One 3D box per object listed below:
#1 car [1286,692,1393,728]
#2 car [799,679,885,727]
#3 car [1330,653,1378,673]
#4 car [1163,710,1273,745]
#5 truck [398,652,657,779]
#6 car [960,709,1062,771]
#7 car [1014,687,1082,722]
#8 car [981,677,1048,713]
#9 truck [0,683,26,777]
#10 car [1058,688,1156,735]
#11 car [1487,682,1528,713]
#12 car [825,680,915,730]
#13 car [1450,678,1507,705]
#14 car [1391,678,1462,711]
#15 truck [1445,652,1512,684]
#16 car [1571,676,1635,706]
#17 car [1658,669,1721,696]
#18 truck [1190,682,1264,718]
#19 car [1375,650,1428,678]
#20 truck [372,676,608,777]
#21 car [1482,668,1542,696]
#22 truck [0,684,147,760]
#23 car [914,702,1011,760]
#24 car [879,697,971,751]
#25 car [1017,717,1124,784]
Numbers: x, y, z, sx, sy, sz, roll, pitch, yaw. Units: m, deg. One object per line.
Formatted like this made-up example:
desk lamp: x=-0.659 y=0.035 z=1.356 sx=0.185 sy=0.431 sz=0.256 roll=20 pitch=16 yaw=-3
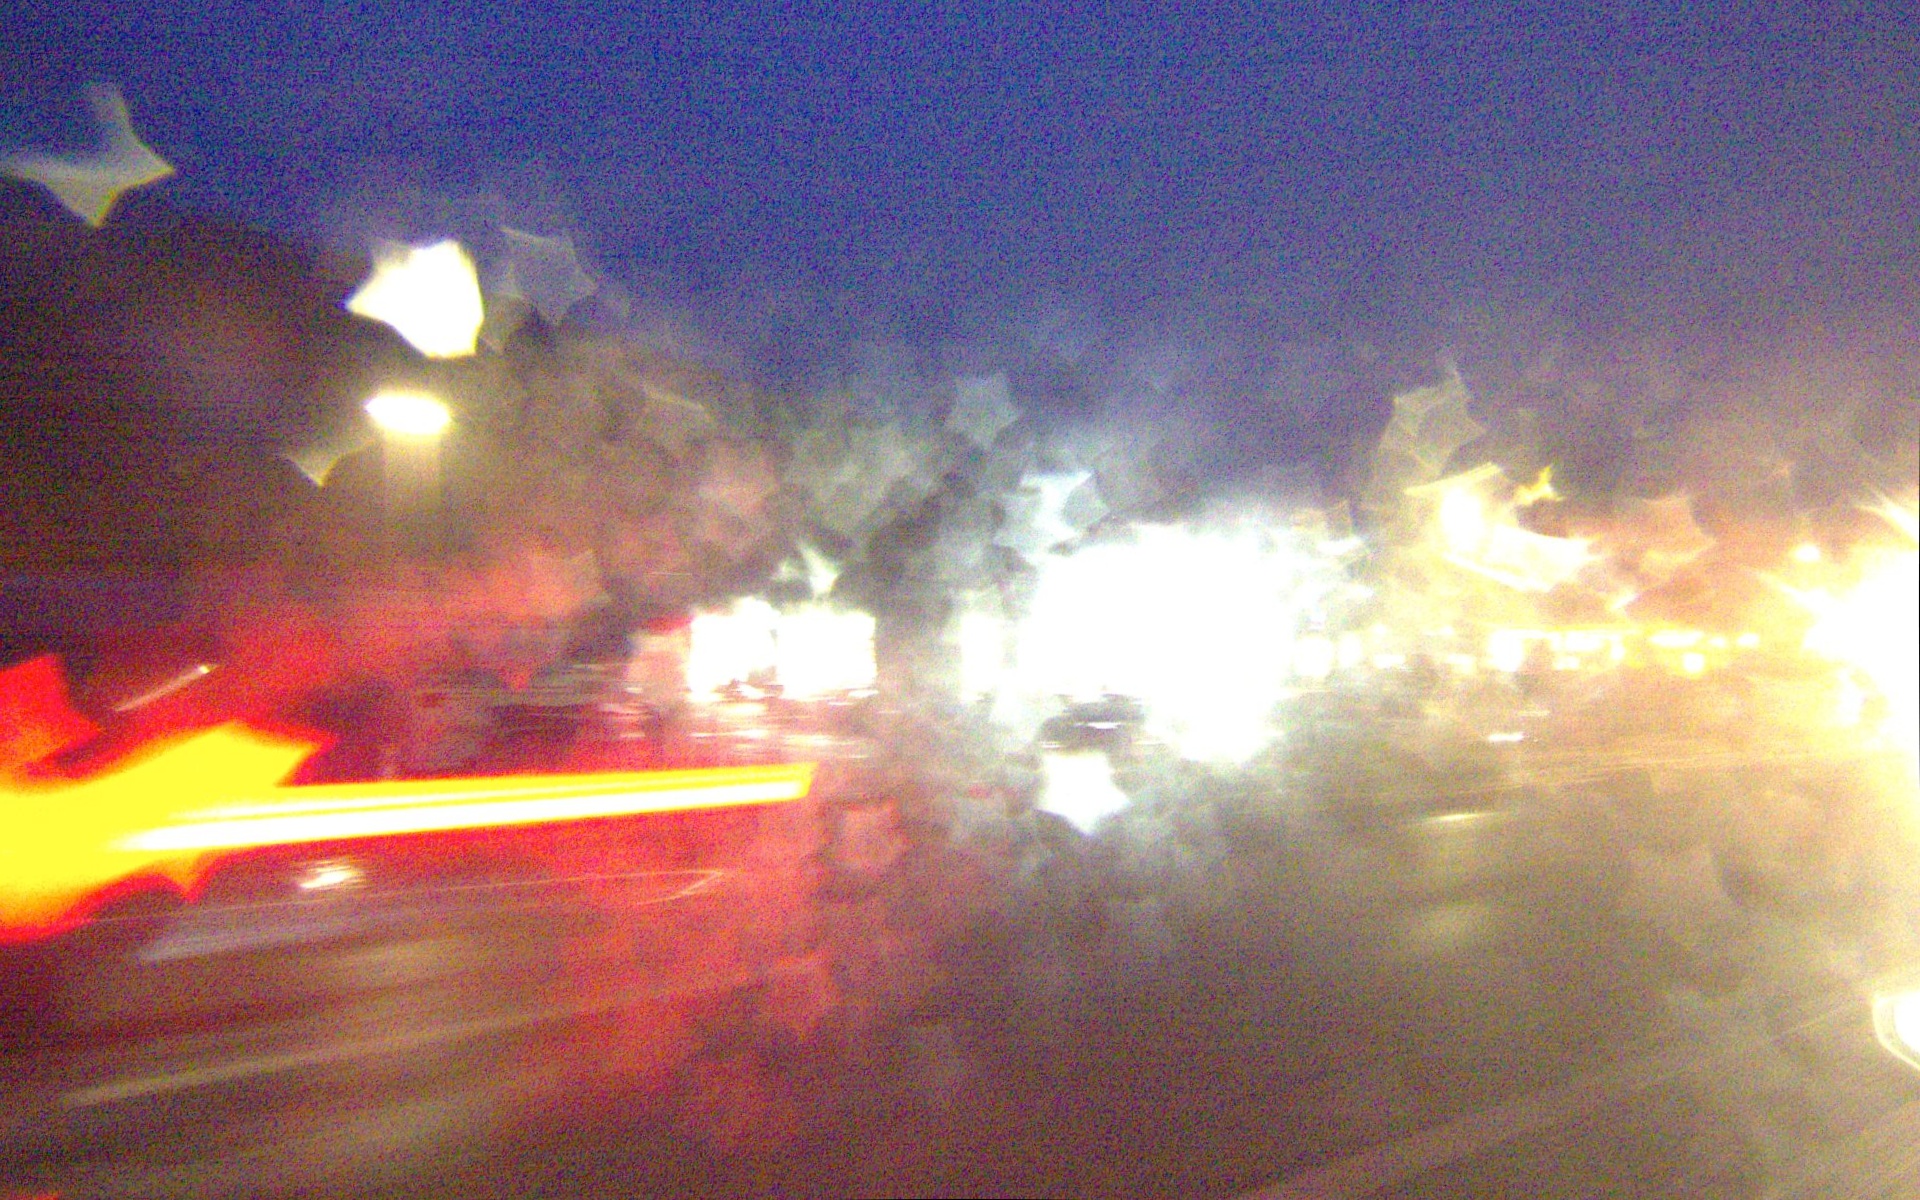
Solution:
car: x=16.081 y=4.683 z=42.790 sx=1.888 sy=1.473 sz=3.973 roll=2 pitch=-7 yaw=-28
car: x=-5.870 y=5.082 z=50.055 sx=3.965 sy=2.040 sz=1.720 roll=1 pitch=0 yaw=-39
car: x=36.233 y=5.778 z=92.412 sx=3.946 sy=1.735 sz=1.853 roll=2 pitch=0 yaw=-25
car: x=9.769 y=4.829 z=38.314 sx=1.825 sy=1.216 sz=3.973 roll=2 pitch=-7 yaw=-28
truck: x=-13.216 y=3.478 z=31.024 sx=6.978 sy=3.523 sz=2.453 roll=3 pitch=-7 yaw=-34
car: x=1.995 y=5.376 z=38.897 sx=3.688 sy=1.932 sz=1.704 roll=1 pitch=0 yaw=-37
car: x=4.988 y=5.959 z=57.242 sx=1.976 sy=1.879 sz=3.973 roll=2 pitch=-7 yaw=-28
car: x=2.998 y=5.283 z=55.673 sx=1.909 sy=1.879 sz=3.973 roll=2 pitch=-7 yaw=-28
truck: x=-35.111 y=4.295 z=32.533 sx=6.621 sy=3.083 sz=2.158 roll=3 pitch=-6 yaw=-32
car: x=6.598 y=4.966 z=45.159 sx=3.928 sy=1.662 sz=1.996 roll=1 pitch=0 yaw=29
car: x=29.461 y=5.241 z=54.144 sx=1.784 sy=1.587 sz=4.204 roll=-3 pitch=-5 yaw=27
car: x=-4.225 y=4.931 z=47.625 sx=3.965 sy=2.040 sz=1.720 roll=1 pitch=0 yaw=-39
car: x=32.630 y=5.727 z=63.243 sx=3.476 sy=1.638 sz=1.671 roll=2 pitch=-5 yaw=-33
car: x=24.220 y=4.871 z=52.075 sx=1.972 sy=1.587 sz=4.829 roll=-5 pitch=-6 yaw=42
truck: x=43.458 y=5.672 z=84.117 sx=6.429 sy=2.495 sz=2.304 roll=2 pitch=-1 yaw=-36
car: x=36.613 y=5.165 z=57.154 sx=3.476 sy=1.638 sz=1.736 roll=2 pitch=-6 yaw=-33
car: x=45.932 y=5.195 z=63.242 sx=3.954 sy=1.616 sz=1.764 roll=2 pitch=-7 yaw=-31
truck: x=16.953 y=6.328 z=63.724 sx=4.448 sy=2.145 sz=2.072 roll=2 pitch=-7 yaw=-33
car: x=38.781 y=5.612 z=88.229 sx=4.402 sy=2.295 sz=1.986 roll=2 pitch=0 yaw=-27
truck: x=-15.999 y=4.226 z=34.462 sx=6.981 sy=3.136 sz=2.420 roll=3 pitch=-7 yaw=-35
car: x=33.542 y=4.978 z=61.026 sx=3.476 sy=1.638 sz=1.736 roll=2 pitch=-6 yaw=-33
truck: x=-36.178 y=4.720 z=39.009 sx=6.794 sy=2.839 sz=2.158 roll=3 pitch=-6 yaw=-32
car: x=0.132 y=5.295 z=40.929 sx=3.688 sy=1.932 sz=1.704 roll=1 pitch=0 yaw=-37
car: x=-1.500 y=5.297 z=43.376 sx=3.688 sy=1.932 sz=1.704 roll=1 pitch=0 yaw=-37
car: x=4.039 y=5.406 z=36.504 sx=3.688 sy=1.932 sz=1.704 roll=1 pitch=0 yaw=-37
